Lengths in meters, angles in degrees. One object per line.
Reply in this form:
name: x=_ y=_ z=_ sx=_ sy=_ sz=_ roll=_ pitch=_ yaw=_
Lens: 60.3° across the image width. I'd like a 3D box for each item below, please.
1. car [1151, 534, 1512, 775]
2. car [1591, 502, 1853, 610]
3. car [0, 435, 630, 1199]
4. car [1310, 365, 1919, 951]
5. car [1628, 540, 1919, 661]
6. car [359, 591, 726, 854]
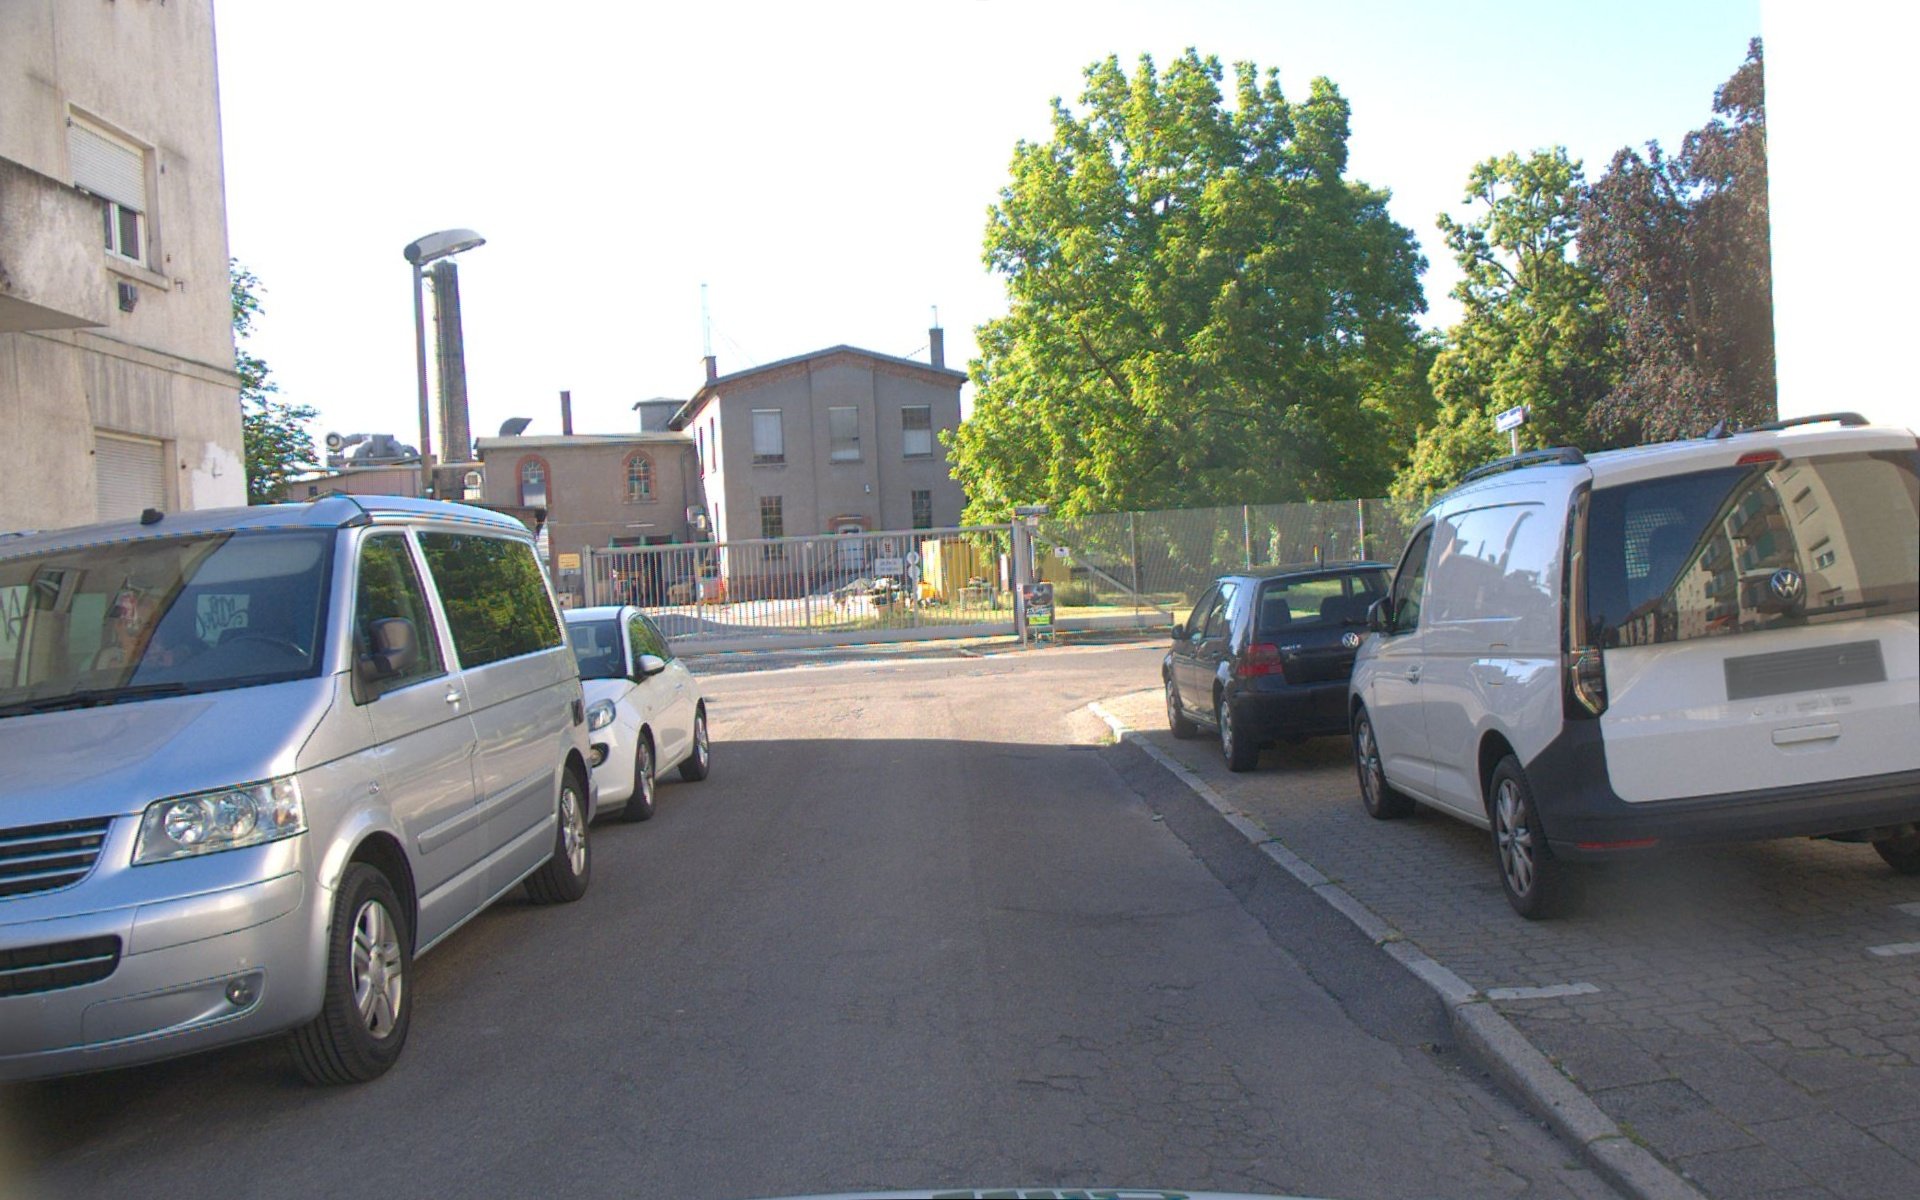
car: x=2.741 y=0.343 z=13.176 sx=1.762 sy=1.439 sz=4.048 roll=-6 pitch=1 yaw=-1
car: x=14.254 y=-0.800 z=31.081 sx=4.068 sy=1.693 sz=1.717 roll=-3 pitch=-2 yaw=-2
car: x=-2.813 y=0.606 z=6.723 sx=1.912 sy=1.966 sz=4.855 roll=-5 pitch=1 yaw=-1
car: x=3.093 y=0.131 z=7.892 sx=1.761 sy=1.877 sz=4.540 roll=-6 pitch=1 yaw=1
car: x=12.363 y=-0.016 z=24.824 sx=3.992 sy=1.575 sz=1.622 roll=-3 pitch=1 yaw=-4
car: x=-2.901 y=0.760 z=12.302 sx=1.652 sy=1.484 sz=3.722 roll=-5 pitch=1 yaw=0
